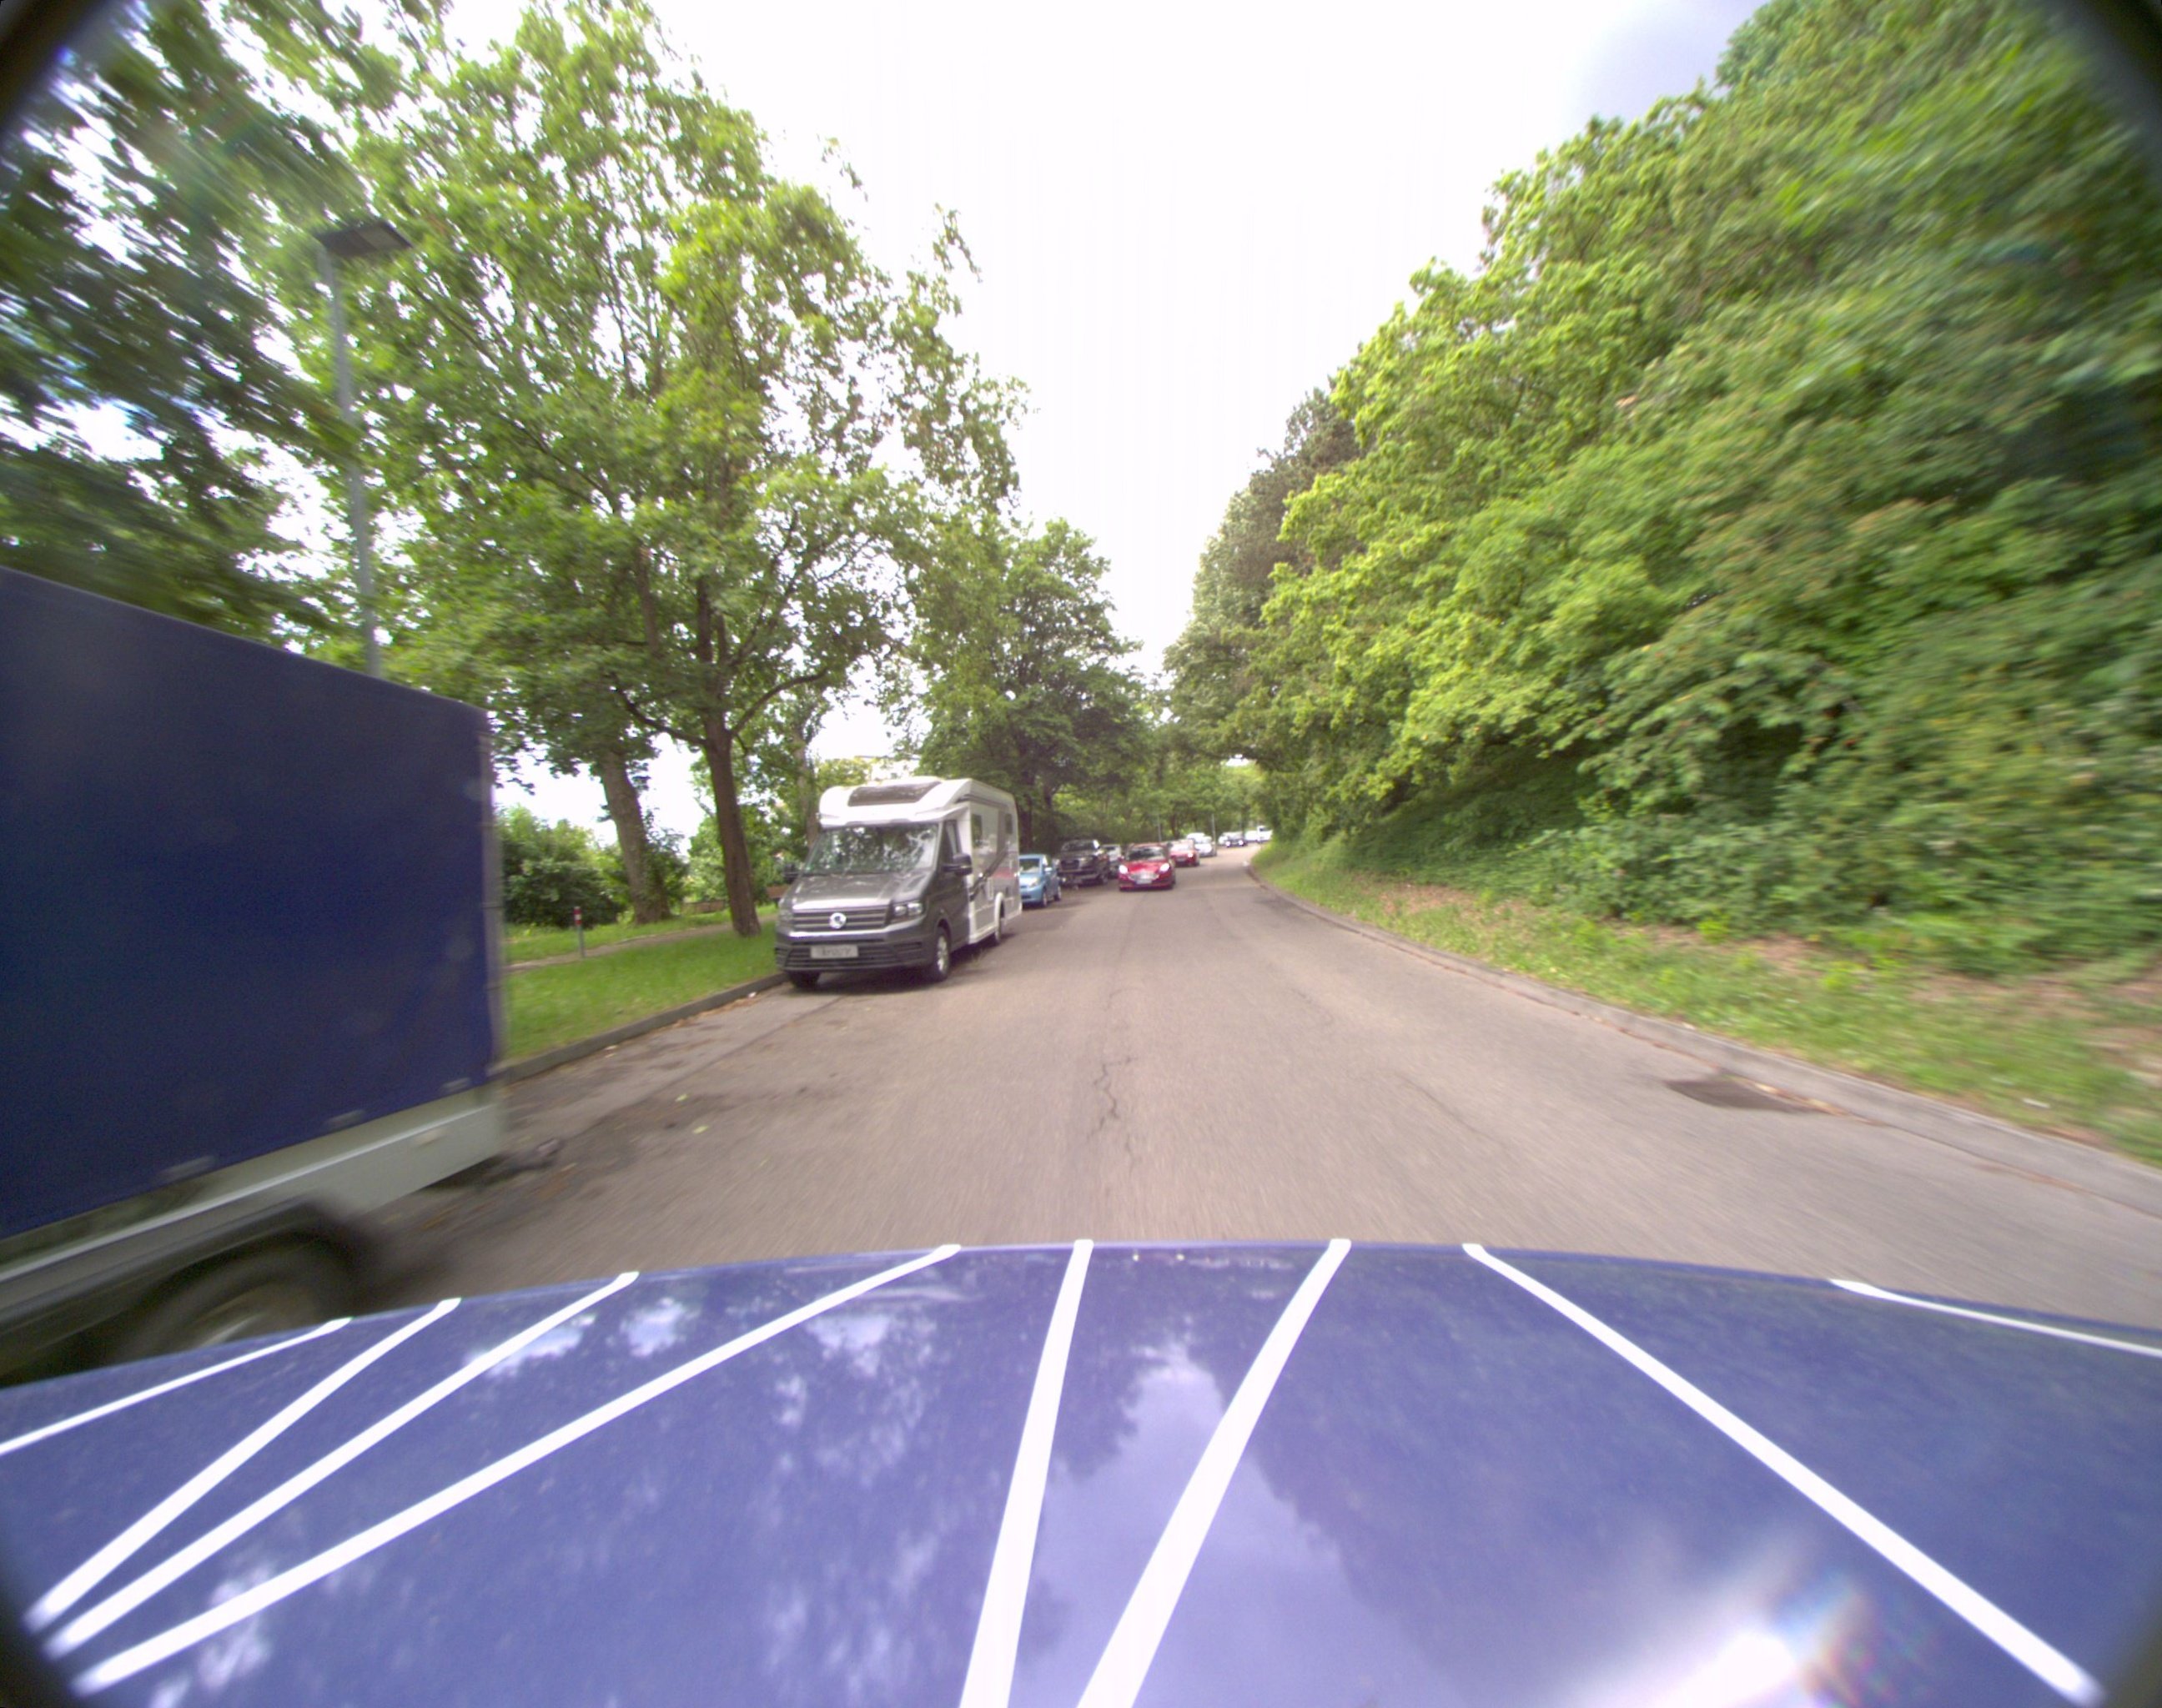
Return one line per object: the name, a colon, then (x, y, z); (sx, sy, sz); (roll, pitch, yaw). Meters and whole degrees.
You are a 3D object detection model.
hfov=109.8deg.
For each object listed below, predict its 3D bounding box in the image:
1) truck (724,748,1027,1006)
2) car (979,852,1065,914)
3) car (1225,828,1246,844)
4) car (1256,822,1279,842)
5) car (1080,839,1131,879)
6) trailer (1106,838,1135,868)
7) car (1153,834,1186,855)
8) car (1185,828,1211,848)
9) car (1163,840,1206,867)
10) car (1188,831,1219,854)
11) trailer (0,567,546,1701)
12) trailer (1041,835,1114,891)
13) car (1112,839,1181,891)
truck: (-2.648, 0.245, 12.314); (2.308, 2.916, 7.035); (-2, 1, 5)
car: (-1.658, 0.787, 22.651); (1.698, 1.538, 3.769); (-3, 1, 8)
car: (16.587, -1.932, 81.296); (1.766, 1.509, 4.003); (-3, 2, 17)
car: (21.248, -2.523, 86.419); (2.147, 2.003, 4.003); (-3, 3, 18)
car: (1.273, 0.194, 37.718); (1.844, 1.675, 4.602); (-3, 2, 9)
trailer: (2.358, -0.076, 44.570); (1.376, 1.595, 2.268); (-3, 1, 9)
car: (7.167, -0.784, 61.121); (1.865, 1.440, 4.180); (-3, 1, 17)
car: (11.430, -1.574, 74.058); (1.865, 1.716, 4.180); (-3, 1, 17)
car: (6.284, -0.064, 45.825); (1.865, 1.440, 4.180); (-3, 1, 17)
car: (9.582, -0.895, 59.342); (1.920, 1.672, 4.004); (-1, 2, 16)
trailer: (-3.293, 0.576, 0.840); (2.112, 2.347, 4.701); (-1, -1, -1)
trailer: (-0.010, 0.278, 31.962); (1.997, 1.922, 5.895); (-3, 3, 9)
car: (2.479, 0.329, 27.759); (1.997, 1.619, 4.628); (-3, 1, 10)
